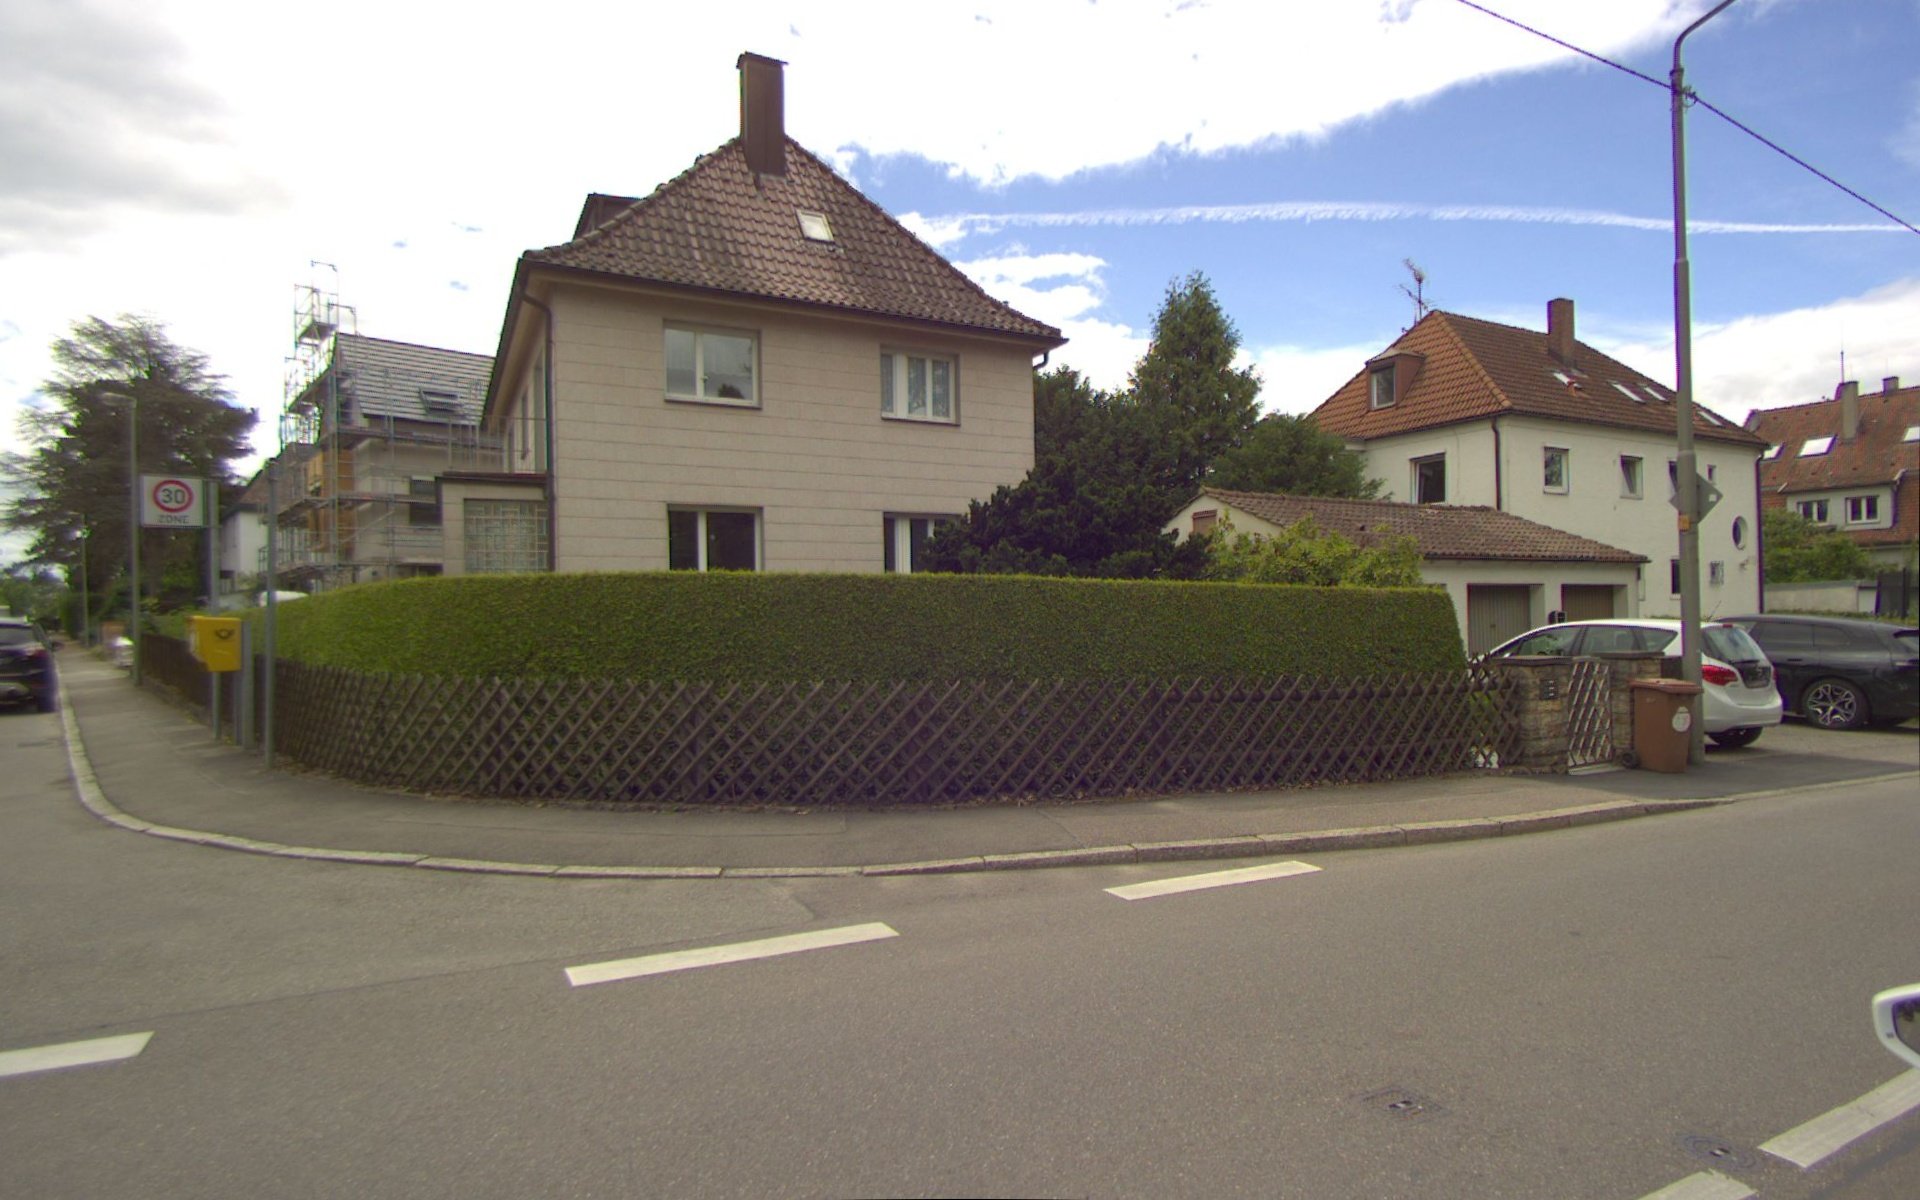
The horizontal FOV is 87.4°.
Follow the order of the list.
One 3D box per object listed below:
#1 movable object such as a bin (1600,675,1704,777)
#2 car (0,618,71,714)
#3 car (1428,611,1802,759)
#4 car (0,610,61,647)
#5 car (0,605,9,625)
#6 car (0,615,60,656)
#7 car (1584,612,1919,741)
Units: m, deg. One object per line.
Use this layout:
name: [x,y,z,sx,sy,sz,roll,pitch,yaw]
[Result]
movable object such as a bin: [7.134,1.281,10.372,0.563,0.966,0.687,1,-2,-22]
car: [-17.609,1.172,18.346,1.880,1.618,3.955,1,-2,-39]
car: [8.733,1.021,13.790,1.697,1.615,3.971,1,0,-28]
car: [-44.367,1.356,47.850,3.944,1.694,1.989,-1,-2,43]
car: [-82.485,1.278,85.616,3.943,1.618,1.740,-1,-2,43]
car: [-36.967,1.385,39.834,1.729,1.550,3.948,2,-2,-44]
car: [13.218,1.124,16.593,1.858,1.692,4.653,1,0,-27]
